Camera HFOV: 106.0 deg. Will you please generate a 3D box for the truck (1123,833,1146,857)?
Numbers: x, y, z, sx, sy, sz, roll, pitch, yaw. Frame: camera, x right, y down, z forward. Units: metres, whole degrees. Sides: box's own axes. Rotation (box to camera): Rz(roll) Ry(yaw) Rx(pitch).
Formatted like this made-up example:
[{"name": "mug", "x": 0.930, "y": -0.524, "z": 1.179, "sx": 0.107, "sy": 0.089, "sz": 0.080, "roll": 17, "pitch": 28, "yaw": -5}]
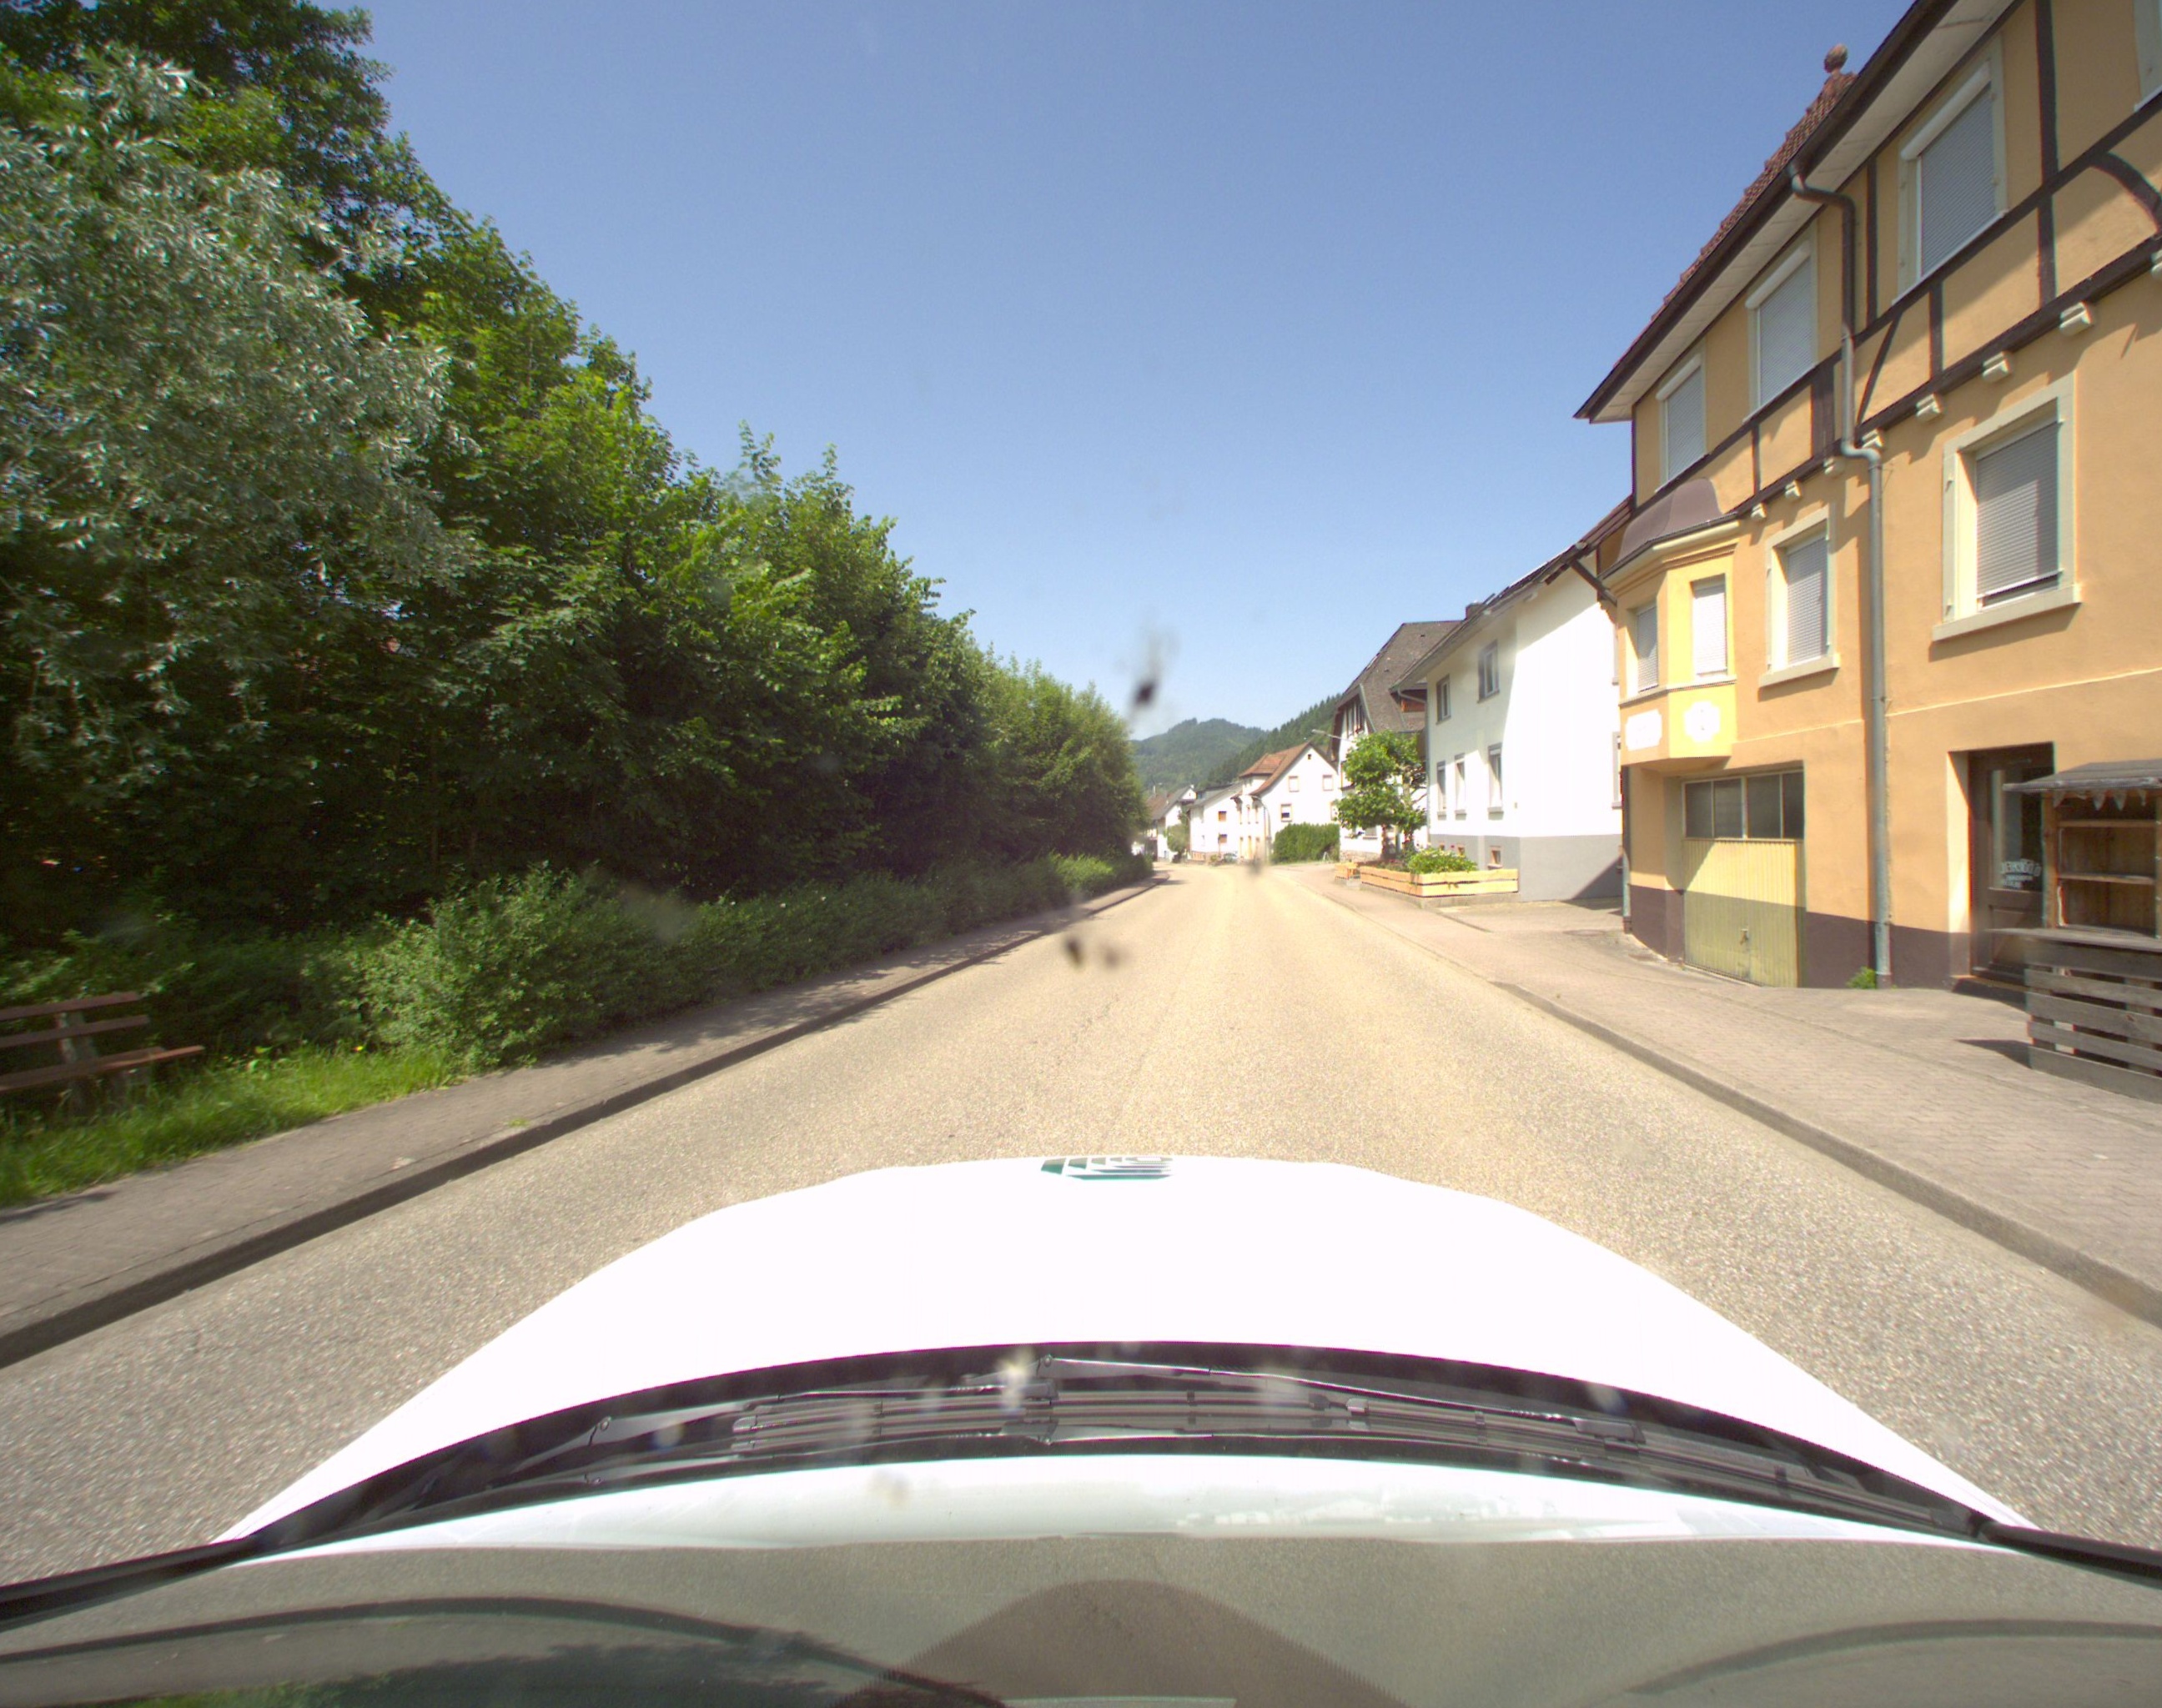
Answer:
[{"name": "truck", "x": 9.729, "y": -1.628, "z": 149.396, "sx": 3.353, "sy": 3.782, "sz": 8.436, "roll": -6, "pitch": -2, "yaw": -1}]
